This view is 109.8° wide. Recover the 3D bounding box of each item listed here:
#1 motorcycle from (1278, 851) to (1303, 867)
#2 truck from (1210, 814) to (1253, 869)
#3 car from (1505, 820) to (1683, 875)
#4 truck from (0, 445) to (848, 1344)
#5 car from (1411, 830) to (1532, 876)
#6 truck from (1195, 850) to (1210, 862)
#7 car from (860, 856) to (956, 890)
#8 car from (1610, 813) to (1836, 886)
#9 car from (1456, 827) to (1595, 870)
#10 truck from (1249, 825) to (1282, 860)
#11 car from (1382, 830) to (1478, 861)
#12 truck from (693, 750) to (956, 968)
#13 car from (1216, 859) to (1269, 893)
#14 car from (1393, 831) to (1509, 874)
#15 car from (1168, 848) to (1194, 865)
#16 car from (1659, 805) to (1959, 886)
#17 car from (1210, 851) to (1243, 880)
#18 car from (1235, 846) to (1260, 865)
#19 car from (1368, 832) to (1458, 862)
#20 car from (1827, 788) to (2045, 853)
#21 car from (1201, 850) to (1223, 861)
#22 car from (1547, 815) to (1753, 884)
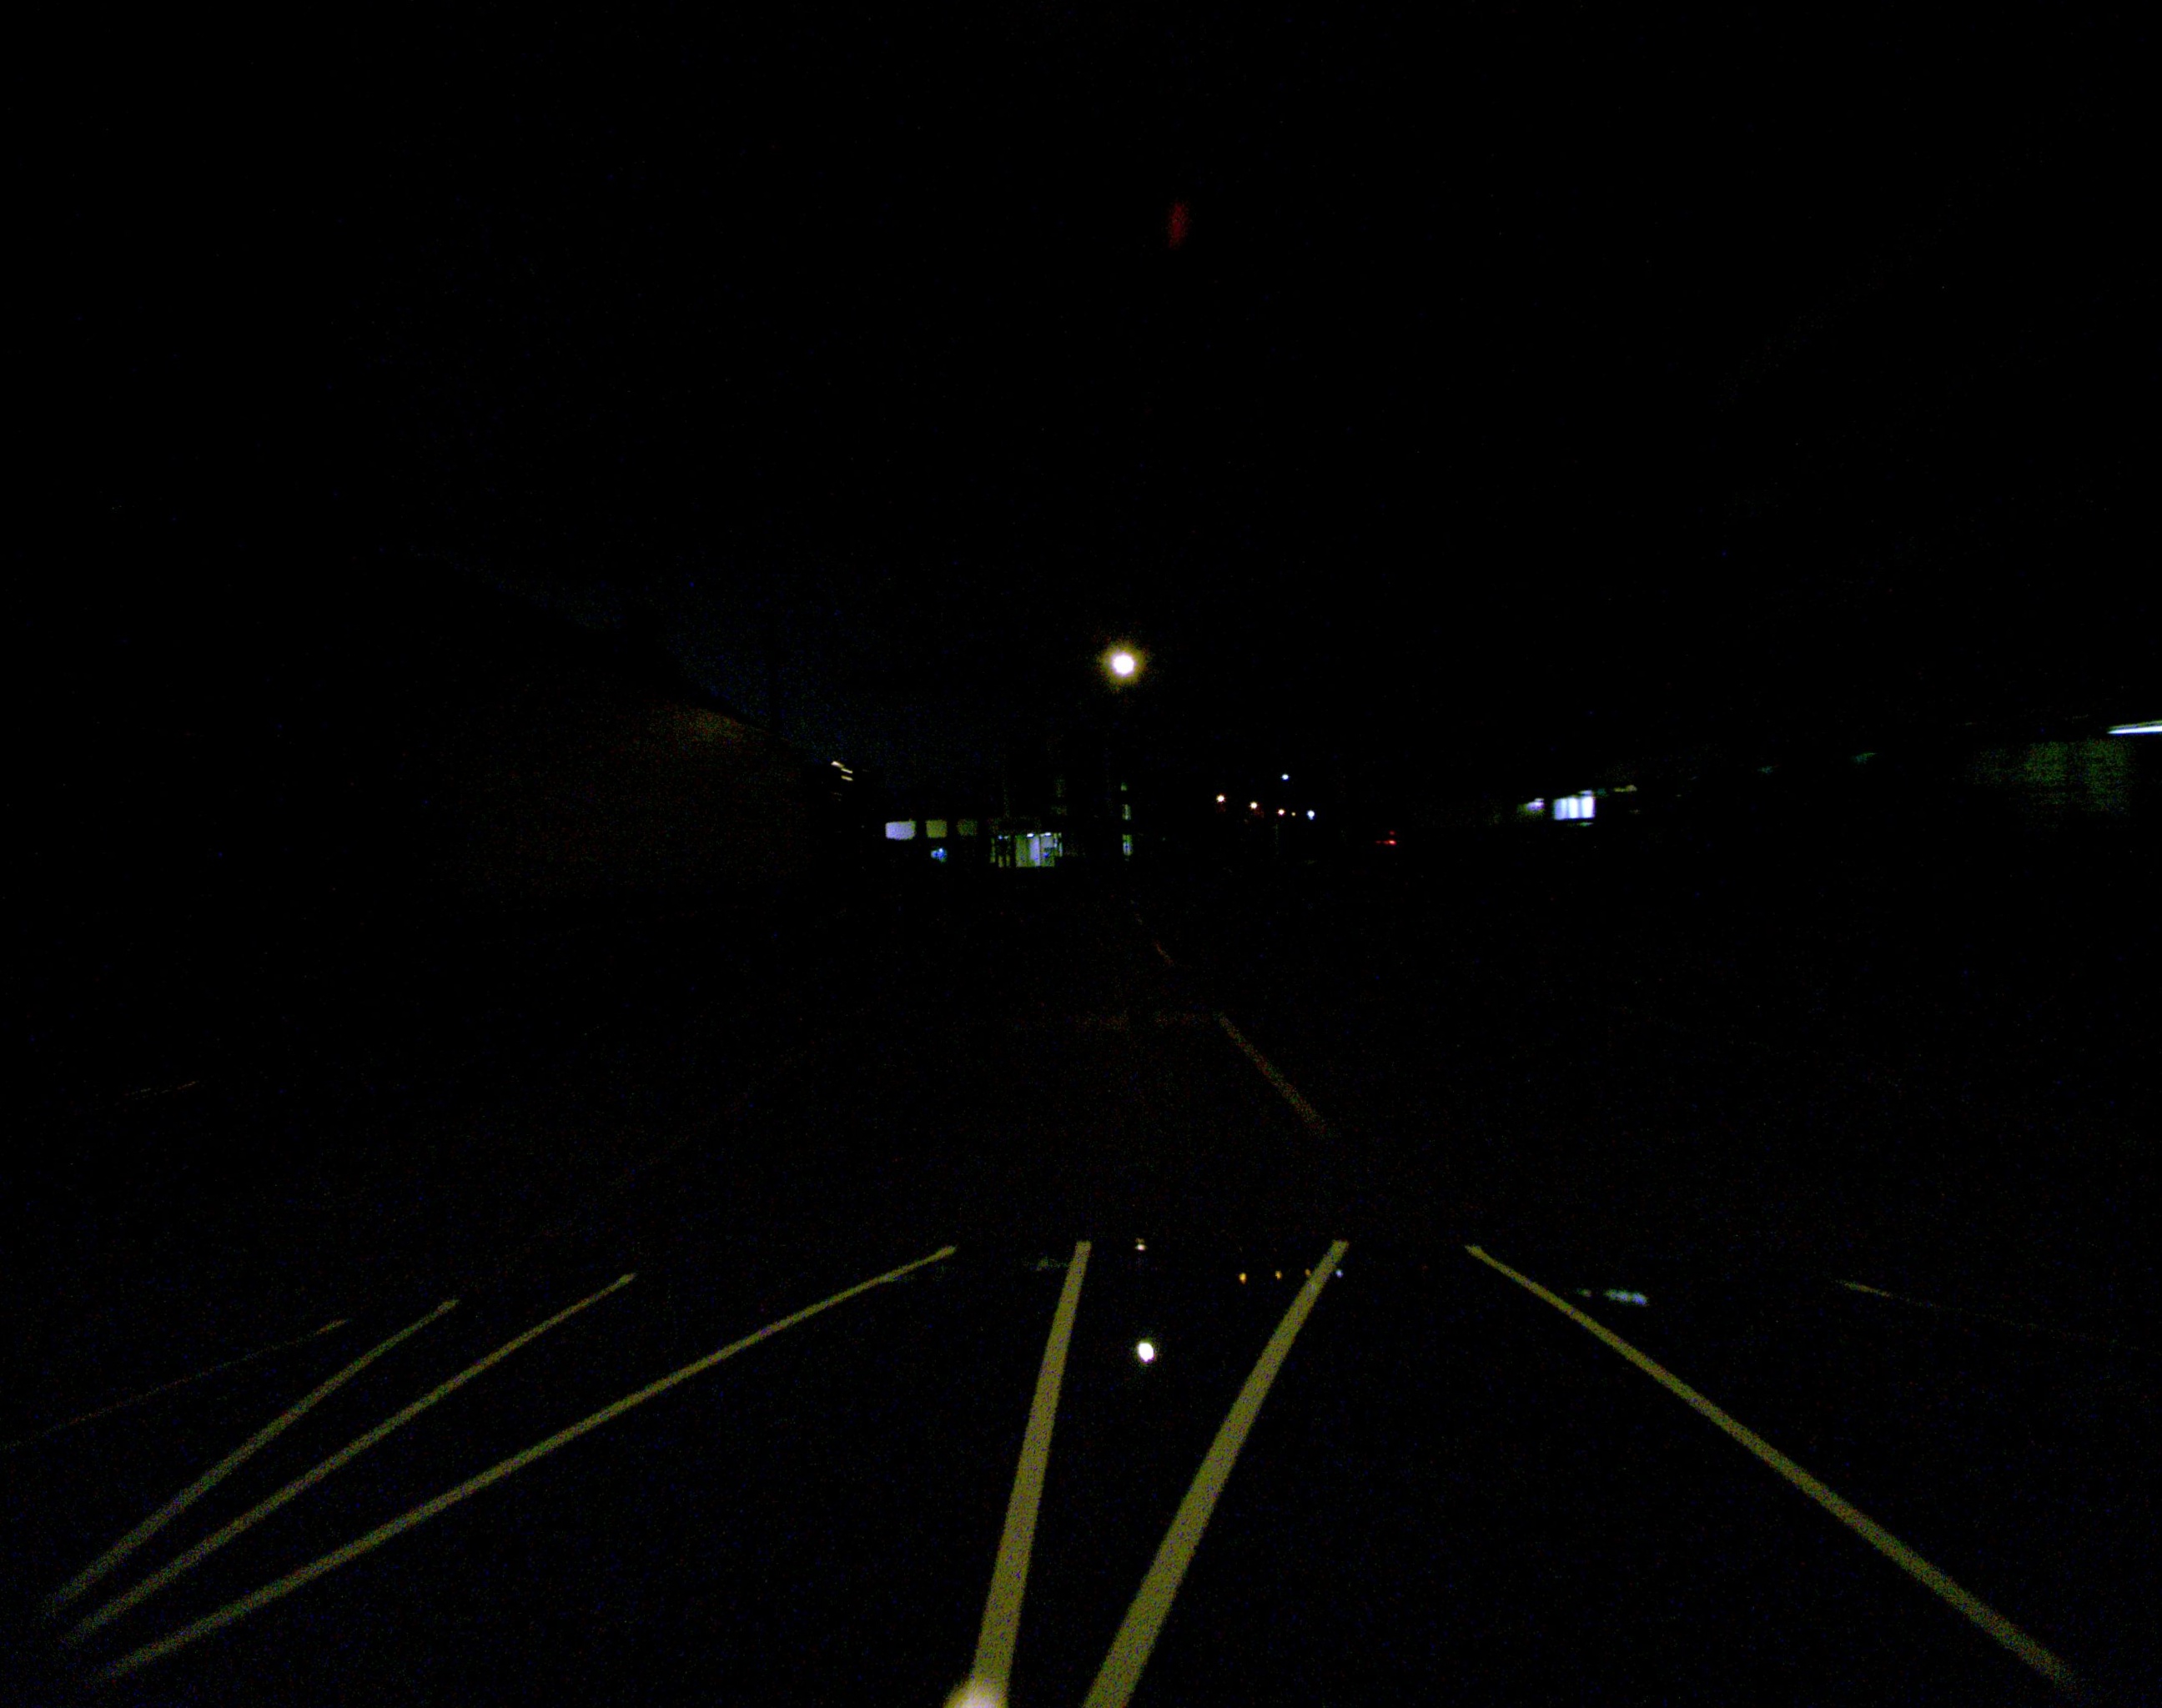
[{"bbox_3d":[16.003,0.387,57.999,1.693,1.095,0.531,-6,2,-16],"label":"motorcycle"},{"bbox_3d":[12.616,-1.020,63.081,2.776,4.096,9.350,-3,1,15],"label":"truck"},{"bbox_3d":[16.572,-0.206,24.746,4.413,1.470,1.851,-3,1,5],"label":"car"},{"bbox_3d":[-5.680,0.204,8.310,2.762,3.761,10.225,-3,1,1],"label":"truck"},{"bbox_3d":[17.685,-0.050,34.604,4.413,1.805,1.963,-3,1,5],"label":"car"},{"bbox_3d":[17.669,0.275,110.426,1.371,1.635,3.817,-3,1,21],"label":"truck"},{"bbox_3d":[-8.594,0.942,38.067,4.336,1.637,1.892,-1,0,0],"label":"car"},{"bbox_3d":[16.548,-0.117,19.772,4.140,1.570,1.842,-3,1,5],"label":"car"},{"bbox_3d":[17.370,-0.215,29.859,4.275,1.386,1.828,-3,1,5],"label":"car"},{"bbox_3d":[23.105,-1.464,94.921,2.749,4.010,9.572,-3,0,20],"label":"truck"},{"bbox_3d":[19.352,-0.448,42.266,4.413,1.444,1.828,-3,1,5],"label":"car"},{"bbox_3d":[-5.302,0.051,18.075,2.762,3.761,9.137,-3,1,1],"label":"truck"},{"bbox_3d":[7.278,0.942,34.618,1.818,1.363,4.362,-1,1,4],"label":"car"},{"bbox_3d":[17.970,-0.083,37.043,4.617,1.805,1.963,-3,1,5],"label":"car"},{"bbox_3d":[12.784,0.331,96.913,1.995,2.002,4.918,-2,1,22],"label":"car"},{"bbox_3d":[16.045,-0.170,17.023,4.457,1.444,2.062,-3,1,8],"label":"car"},{"bbox_3d":[9.049,0.694,47.315,1.869,1.583,4.497,-3,0,11],"label":"car"},{"bbox_3d":[16.988,0.142,77.470,1.946,1.707,5.204,-3,1,18],"label":"car"},{"bbox_3d":[19.487,-0.420,44.716,4.413,1.474,1.893,-3,1,5],"label":"car"},{"bbox_3d":[25.416,-0.928,22.872,1.998,1.632,4.204,-4,0,6],"label":"car"},{"bbox_3d":[19.812,0.173,114.489,1.948,1.480,5.018,-3,0,25],"label":"car"},{"bbox_3d":[16.447,-0.128,22.169,4.414,1.671,1.963,-3,1,4],"label":"car"}]
